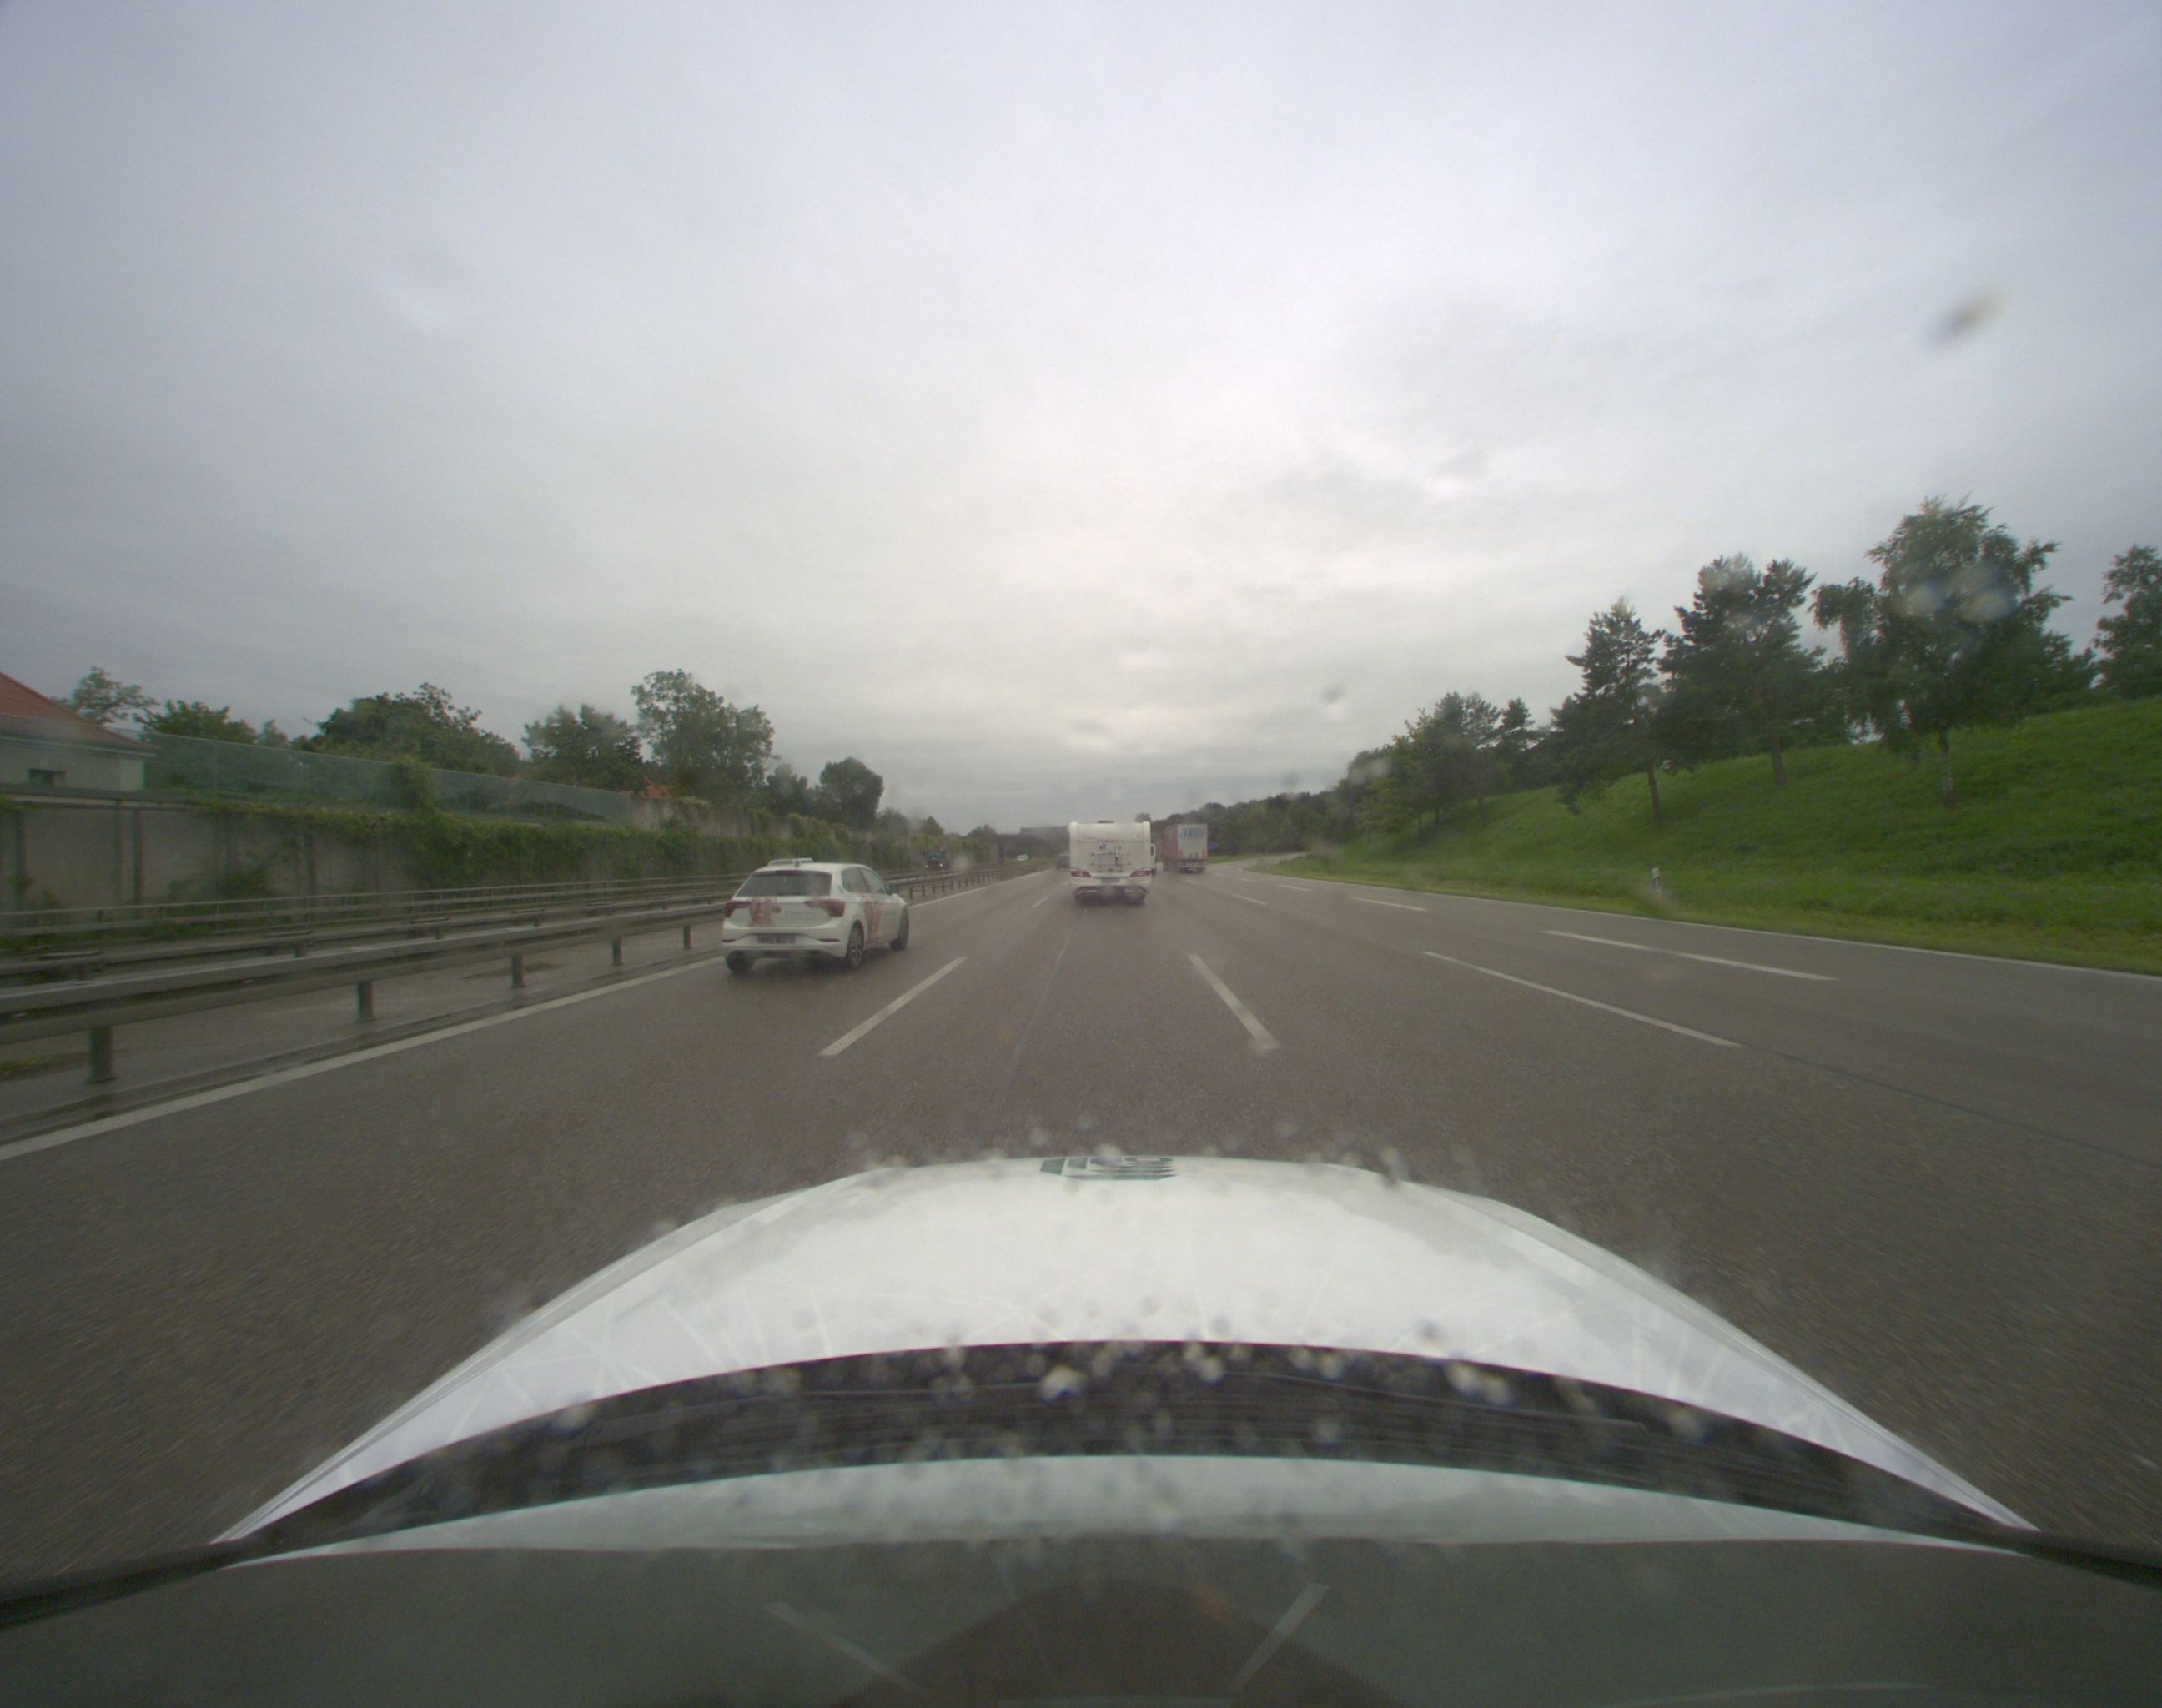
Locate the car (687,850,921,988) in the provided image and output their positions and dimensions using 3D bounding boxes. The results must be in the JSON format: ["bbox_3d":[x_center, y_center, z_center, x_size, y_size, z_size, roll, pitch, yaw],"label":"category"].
[{"bbox_3d":[-3.816,0.783,12.190,1.747,1.618,4.665,-2,0,1],"label":"car"}]

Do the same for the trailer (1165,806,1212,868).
[{"bbox_3d":[9.191,-1.301,70.900,3.087,4.922,11.797,0,0,3],"label":"trailer"}]

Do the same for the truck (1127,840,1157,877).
[{"bbox_3d":[4.768,0.352,63.962,2.046,2.770,5.550,0,0,1],"label":"truck"}]

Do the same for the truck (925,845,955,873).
[{"bbox_3d":[-19.433,0.661,112.516,2.682,3.777,8.337,0,0,0],"label":"truck"}]

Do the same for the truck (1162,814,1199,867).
[{"bbox_3d":[9.497,-1.216,78.231,3.037,4.839,5.852,0,0,2],"label":"truck"}]

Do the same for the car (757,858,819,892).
[{"bbox_3d":[-18.178,1.277,50.782,1.986,2.014,4.958,0,0,1],"label":"car"}]

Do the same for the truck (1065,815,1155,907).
[{"bbox_3d":[0.908,0.227,26.707,2.651,2.742,5.078,0,0,1],"label":"truck"}]

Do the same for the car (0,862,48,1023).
[{"bbox_3d":[-12.733,0.962,7.043,1.781,1.751,4.536,0,0,0],"label":"car"}]
